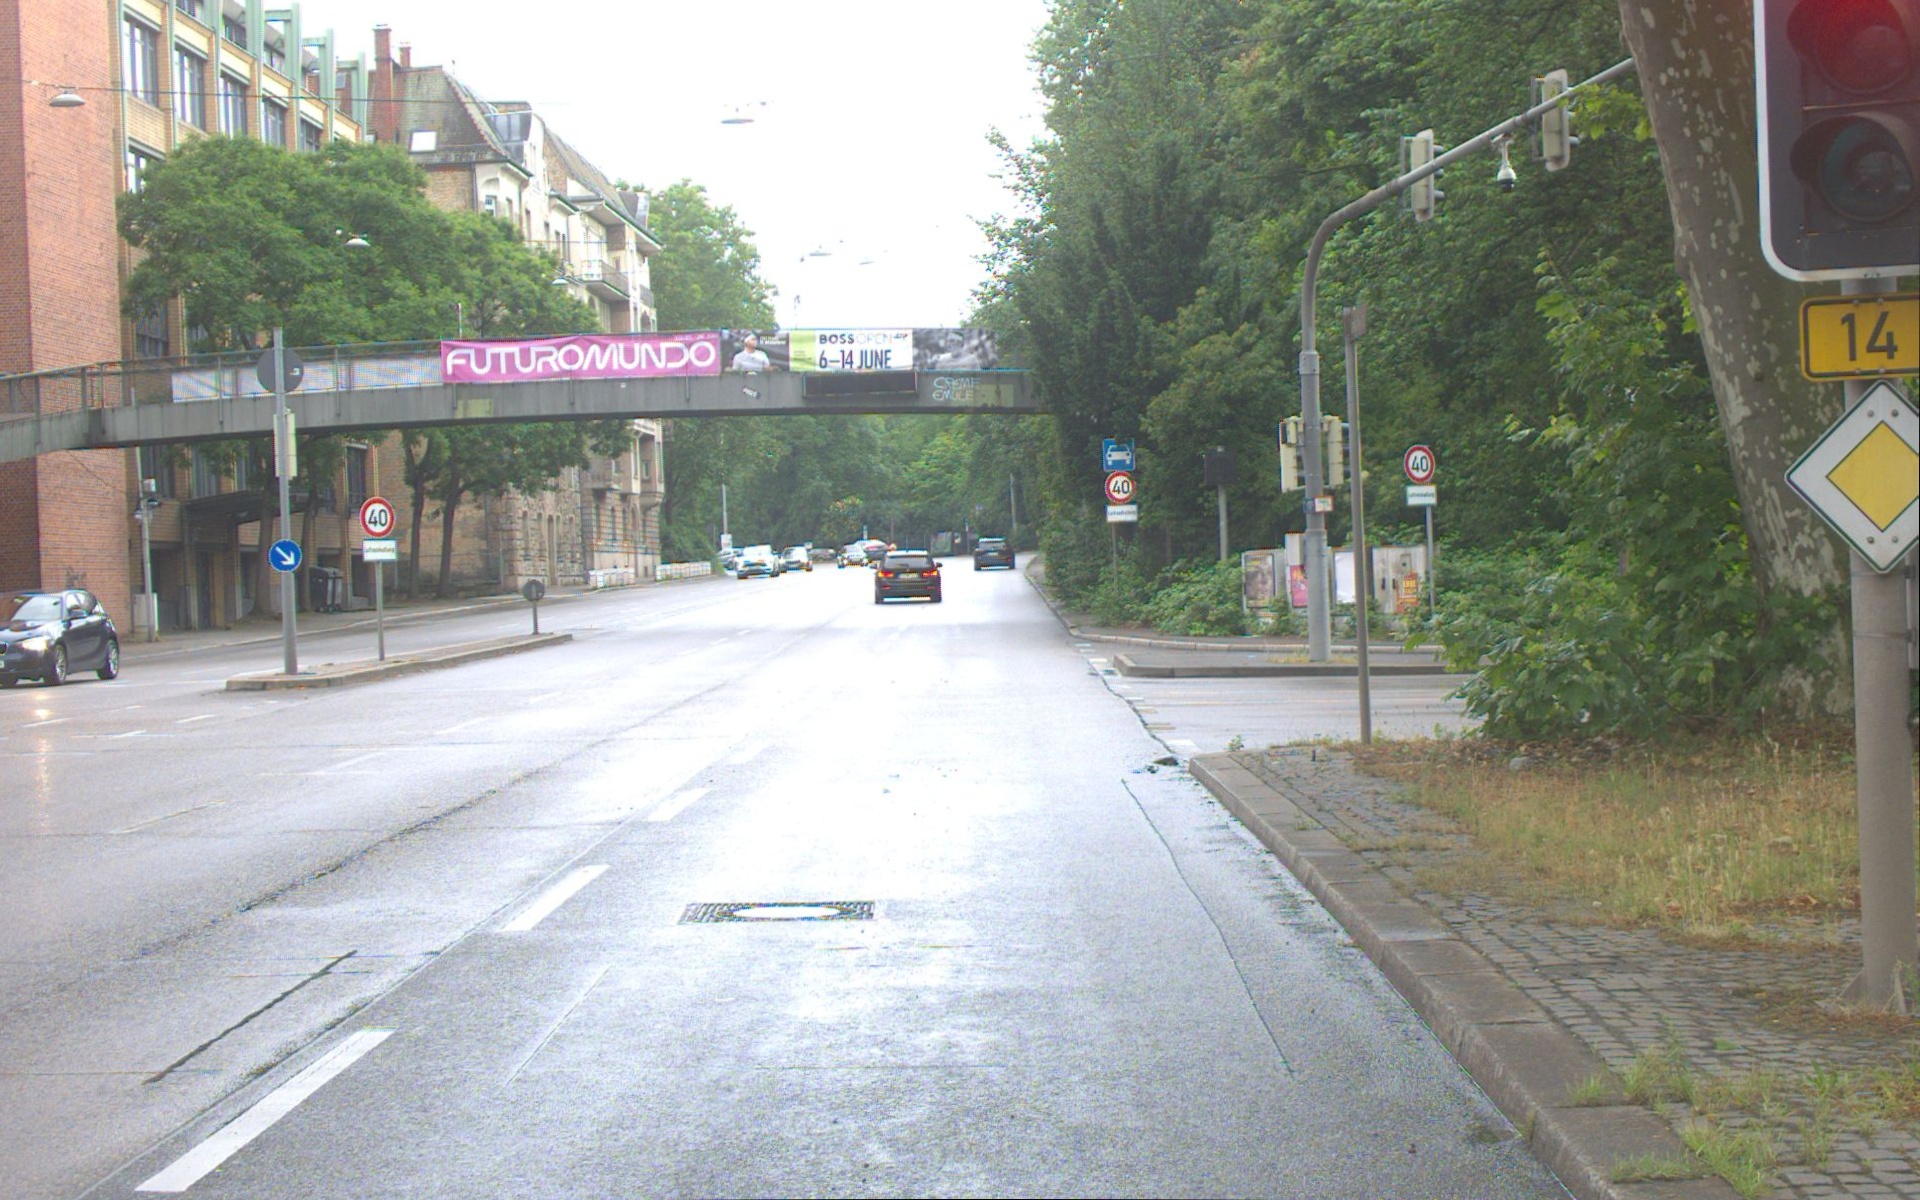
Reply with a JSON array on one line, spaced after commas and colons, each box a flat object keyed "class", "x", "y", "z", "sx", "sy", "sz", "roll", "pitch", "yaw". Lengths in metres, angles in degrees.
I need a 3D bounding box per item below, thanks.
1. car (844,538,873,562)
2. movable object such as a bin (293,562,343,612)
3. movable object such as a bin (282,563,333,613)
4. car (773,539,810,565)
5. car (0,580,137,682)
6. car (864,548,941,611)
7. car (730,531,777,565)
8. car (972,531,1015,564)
[{"class": "car", "x": -6.562, "y": -3.234, "z": 222.854, "sx": 1.683, "sy": 1.431, "sz": 3.862, "roll": -2, "pitch": 0, "yaw": 0}, {"class": "movable object such as a bin", "x": -20.263, "y": -0.420, "z": 108.480, "sx": 1.299, "sy": 1.513, "sz": 1.214, "roll": -1, "pitch": 1, "yaw": 1}, {"class": "movable object such as a bin", "x": -20.299, "y": -0.372, "z": 107.020, "sx": 1.282, "sy": 1.513, "sz": 1.273, "roll": -1, "pitch": 1, "yaw": 1}, {"class": "car", "x": -9.674, "y": -2.747, "z": 197.146, "sx": 1.709, "sy": 1.459, "sz": 4.041, "roll": -2, "pitch": 0, "yaw": 3}, {"class": "car", "x": -13.686, "y": 0.473, "z": 50.828, "sx": 1.686, "sy": 1.414, "sz": 4.214, "roll": -2, "pitch": 0, "yaw": 4}, {"class": "car", "x": -1.597, "y": -0.564, "z": 94.328, "sx": 2.004, "sy": 1.638, "sz": 4.376, "roll": -2, "pitch": 1, "yaw": -2}, {"class": "car", "x": -10.279, "y": -2.579, "z": 171.750, "sx": 1.890, "sy": 1.604, "sz": 4.456, "roll": -1, "pitch": 0, "yaw": 2}, {"class": "car", "x": 1.508, "y": -2.360, "z": 155.426, "sx": 1.842, "sy": 1.448, "sz": 3.777, "roll": 1, "pitch": 1, "yaw": -1}]
